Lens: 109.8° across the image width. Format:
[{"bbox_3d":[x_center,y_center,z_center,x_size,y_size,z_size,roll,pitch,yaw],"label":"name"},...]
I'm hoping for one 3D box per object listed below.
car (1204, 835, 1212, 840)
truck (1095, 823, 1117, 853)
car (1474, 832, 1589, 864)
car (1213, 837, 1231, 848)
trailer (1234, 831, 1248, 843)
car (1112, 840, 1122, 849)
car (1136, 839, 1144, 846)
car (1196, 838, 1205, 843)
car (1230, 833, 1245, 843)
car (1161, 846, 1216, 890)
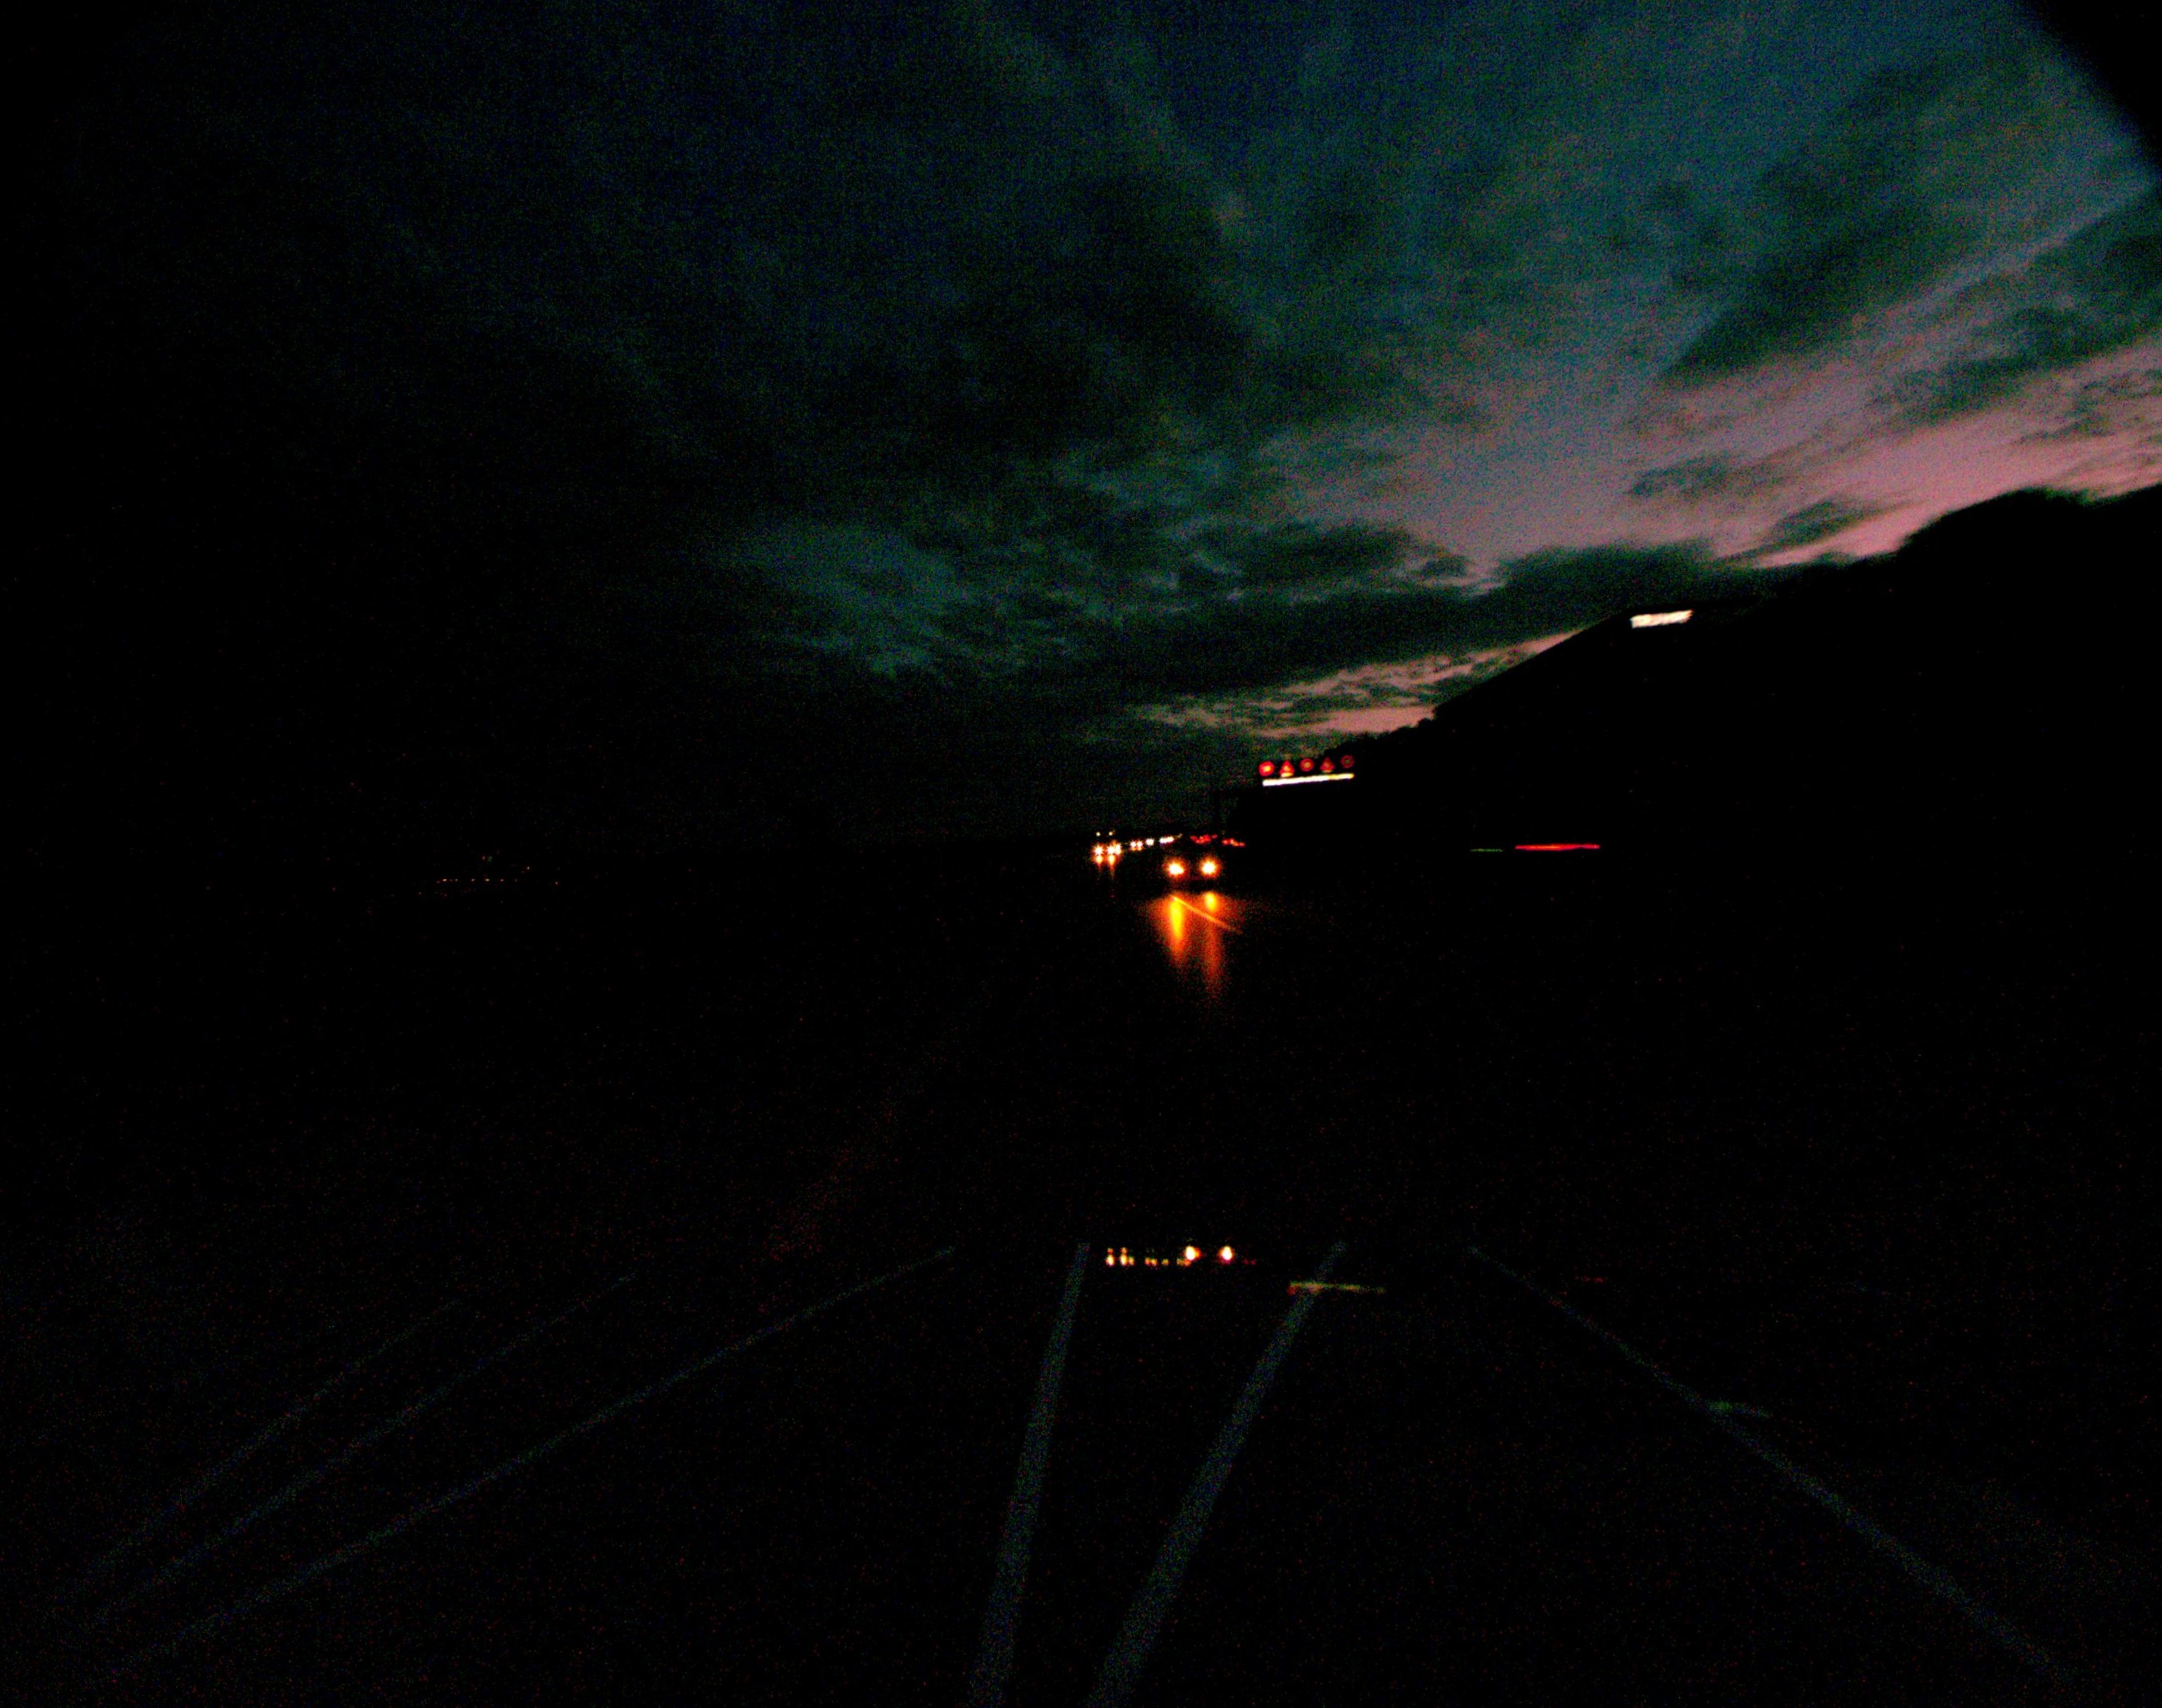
[{"bbox_3d":[41.704,-5.474,249.261,1.998,1.525,5.007,-3,1,4],"label":"car"},{"bbox_3d":[4.082,-2.620,120.357,3.026,4.373,11.614,-3,2,3],"label":"truck"},{"bbox_3d":[19.999,-0.299,34.079,2.065,1.219,5.232,-3,1,0],"label":"car"},{"bbox_3d":[24.528,-2.009,132.298,1.917,1.857,6.014,-3,1,1],"label":"car"},{"bbox_3d":[30.809,-3.242,146.268,1.917,1.991,4.241,-4,1,3],"label":"trailer"},{"bbox_3d":[8.317,-2.212,173.633,1.998,2.002,4.000,-3,2,6],"label":"car"},{"bbox_3d":[14.686,-2.922,189.575,1.653,1.655,3.774,-3,2,1],"label":"car"},{"bbox_3d":[29.781,-3.377,189.334,1.693,1.346,4.897,-3,1,3],"label":"car"},{"bbox_3d":[31.256,-3.213,151.873,1.917,1.857,5.523,-3,1,3],"label":"car"},{"bbox_3d":[4.172,0.487,29.917,1.717,1.471,4.000,-3,2,3],"label":"car"}]
